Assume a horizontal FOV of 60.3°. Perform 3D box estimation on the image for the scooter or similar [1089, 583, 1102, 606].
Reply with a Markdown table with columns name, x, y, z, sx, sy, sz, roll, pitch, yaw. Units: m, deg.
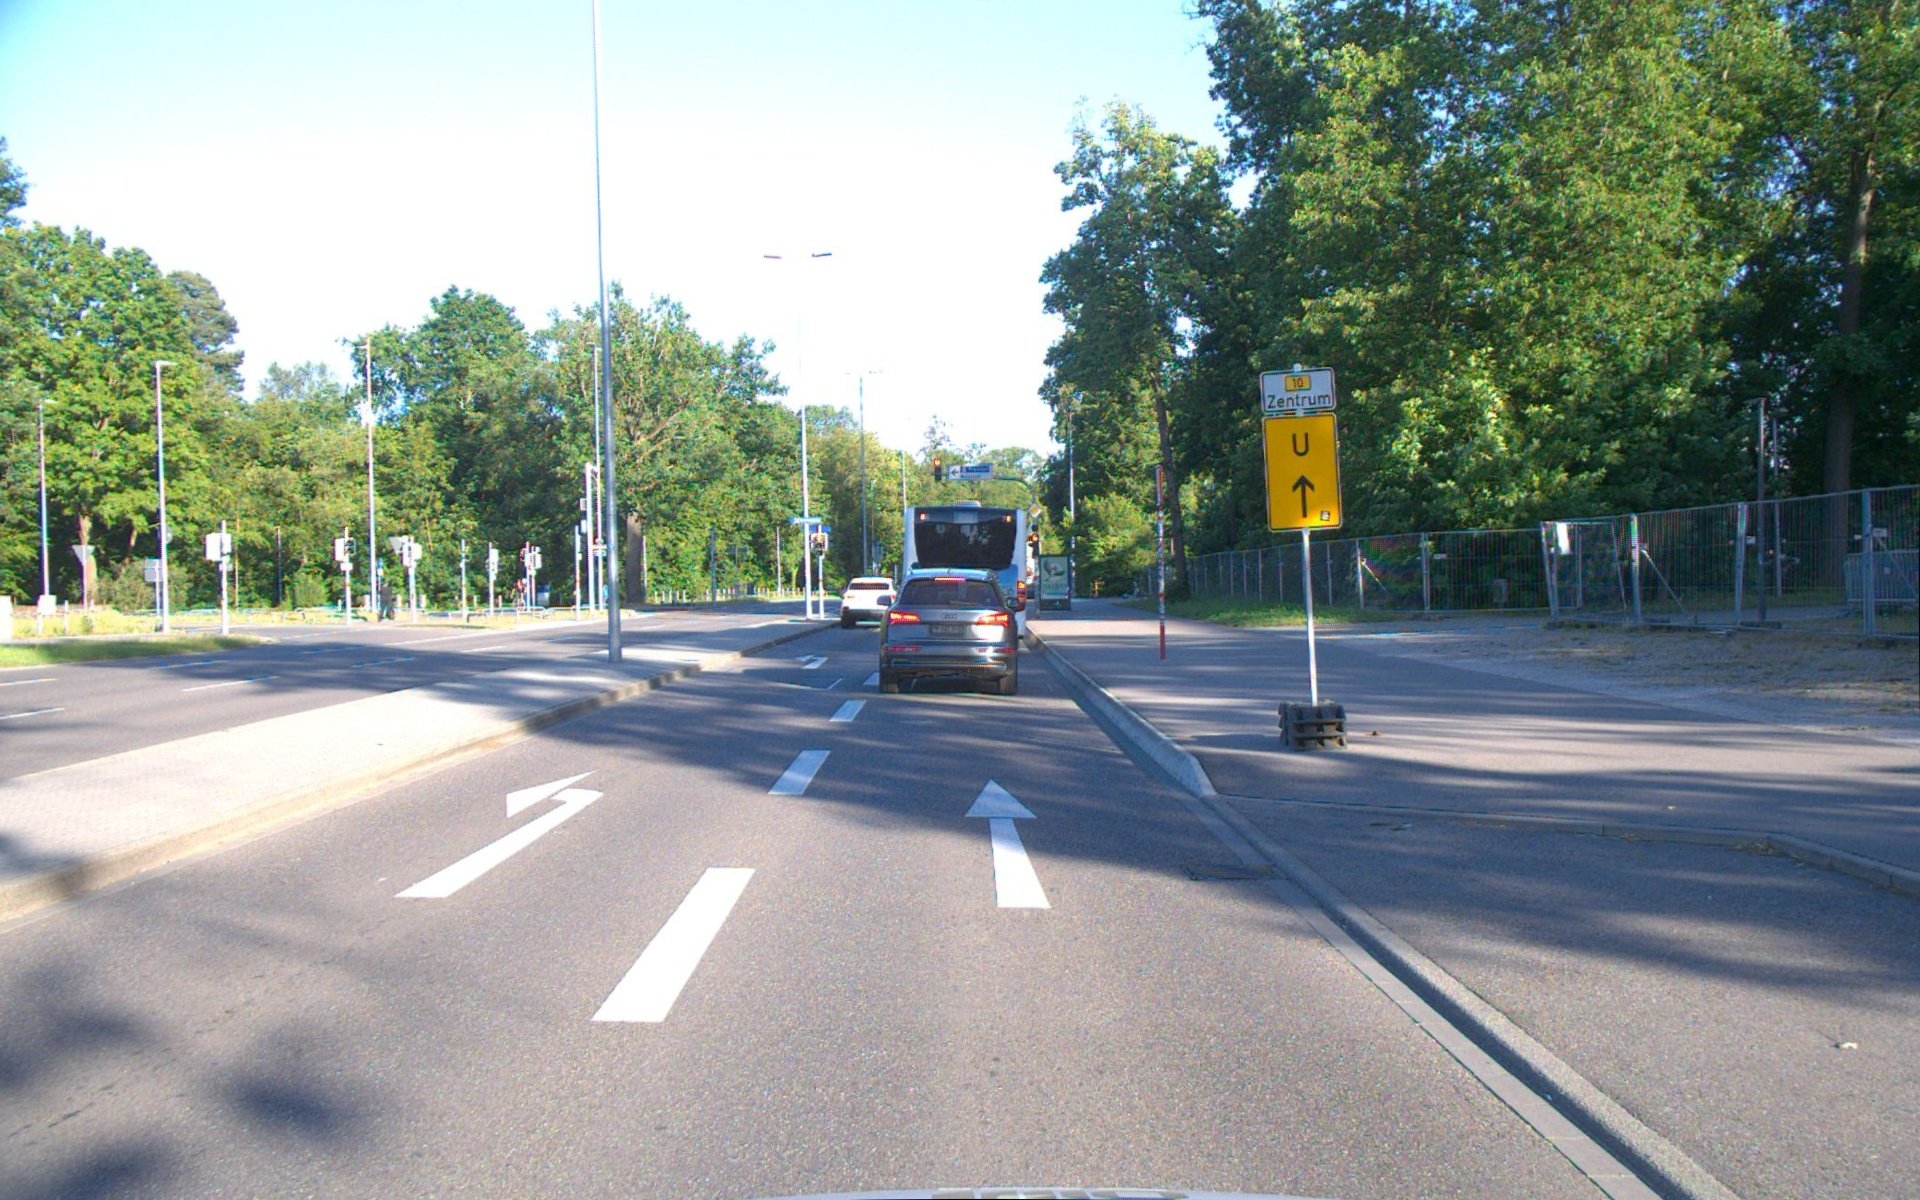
| name | x | y | z | sx | sy | sz | roll | pitch | yaw |
| --- | --- | --- | --- | --- | --- | --- | --- | --- | --- |
| scooter or similar | 8.686 | -0.363 | 105.982 | 0.498 | 1.469 | 2.020 | -2 | 1 | -5 |

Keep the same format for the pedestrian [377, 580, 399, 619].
| name | x | y | z | sx | sy | sz | roll | pitch | yaw |
| --- | --- | --- | --- | --- | --- | --- | --- | --- | --- |
| pedestrian | -23.402 | -0.011 | 67.659 | 0.643 | 1.587 | 0.531 | -2 | 1 | -42 |

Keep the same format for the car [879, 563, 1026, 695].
| name | x | y | z | sx | sy | sz | roll | pitch | yaw |
| --- | --- | --- | --- | --- | --- | --- | --- | --- | --- |
| car | -0.083 | 0.346 | 23.035 | 1.859 | 1.660 | 4.000 | 1 | 1 | 0 |

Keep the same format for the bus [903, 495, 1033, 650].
| name | x | y | z | sx | sy | sz | roll | pitch | yaw |
| --- | --- | --- | --- | --- | --- | --- | --- | --- | --- |
| bus | 0.178 | -0.560 | 37.270 | 2.541 | 3.041 | 9.327 | 0 | 0 | 0 |

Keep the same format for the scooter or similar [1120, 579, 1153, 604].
| name | x | y | z | sx | sy | sz | roll | pitch | yaw |
| --- | --- | --- | --- | --- | --- | --- | --- | --- | --- |
| scooter or similar | 11.029 | -0.525 | 103.518 | 1.990 | 1.469 | 0.601 | -2 | 1 | -25 |

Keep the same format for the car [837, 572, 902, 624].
| name | x | y | z | sx | sy | sz | roll | pitch | yaw |
| --- | --- | --- | --- | --- | --- | --- | --- | --- | --- |
| car | -2.801 | -0.086 | 52.092 | 1.798 | 1.545 | 4.000 | -1 | 1 | 0 |
